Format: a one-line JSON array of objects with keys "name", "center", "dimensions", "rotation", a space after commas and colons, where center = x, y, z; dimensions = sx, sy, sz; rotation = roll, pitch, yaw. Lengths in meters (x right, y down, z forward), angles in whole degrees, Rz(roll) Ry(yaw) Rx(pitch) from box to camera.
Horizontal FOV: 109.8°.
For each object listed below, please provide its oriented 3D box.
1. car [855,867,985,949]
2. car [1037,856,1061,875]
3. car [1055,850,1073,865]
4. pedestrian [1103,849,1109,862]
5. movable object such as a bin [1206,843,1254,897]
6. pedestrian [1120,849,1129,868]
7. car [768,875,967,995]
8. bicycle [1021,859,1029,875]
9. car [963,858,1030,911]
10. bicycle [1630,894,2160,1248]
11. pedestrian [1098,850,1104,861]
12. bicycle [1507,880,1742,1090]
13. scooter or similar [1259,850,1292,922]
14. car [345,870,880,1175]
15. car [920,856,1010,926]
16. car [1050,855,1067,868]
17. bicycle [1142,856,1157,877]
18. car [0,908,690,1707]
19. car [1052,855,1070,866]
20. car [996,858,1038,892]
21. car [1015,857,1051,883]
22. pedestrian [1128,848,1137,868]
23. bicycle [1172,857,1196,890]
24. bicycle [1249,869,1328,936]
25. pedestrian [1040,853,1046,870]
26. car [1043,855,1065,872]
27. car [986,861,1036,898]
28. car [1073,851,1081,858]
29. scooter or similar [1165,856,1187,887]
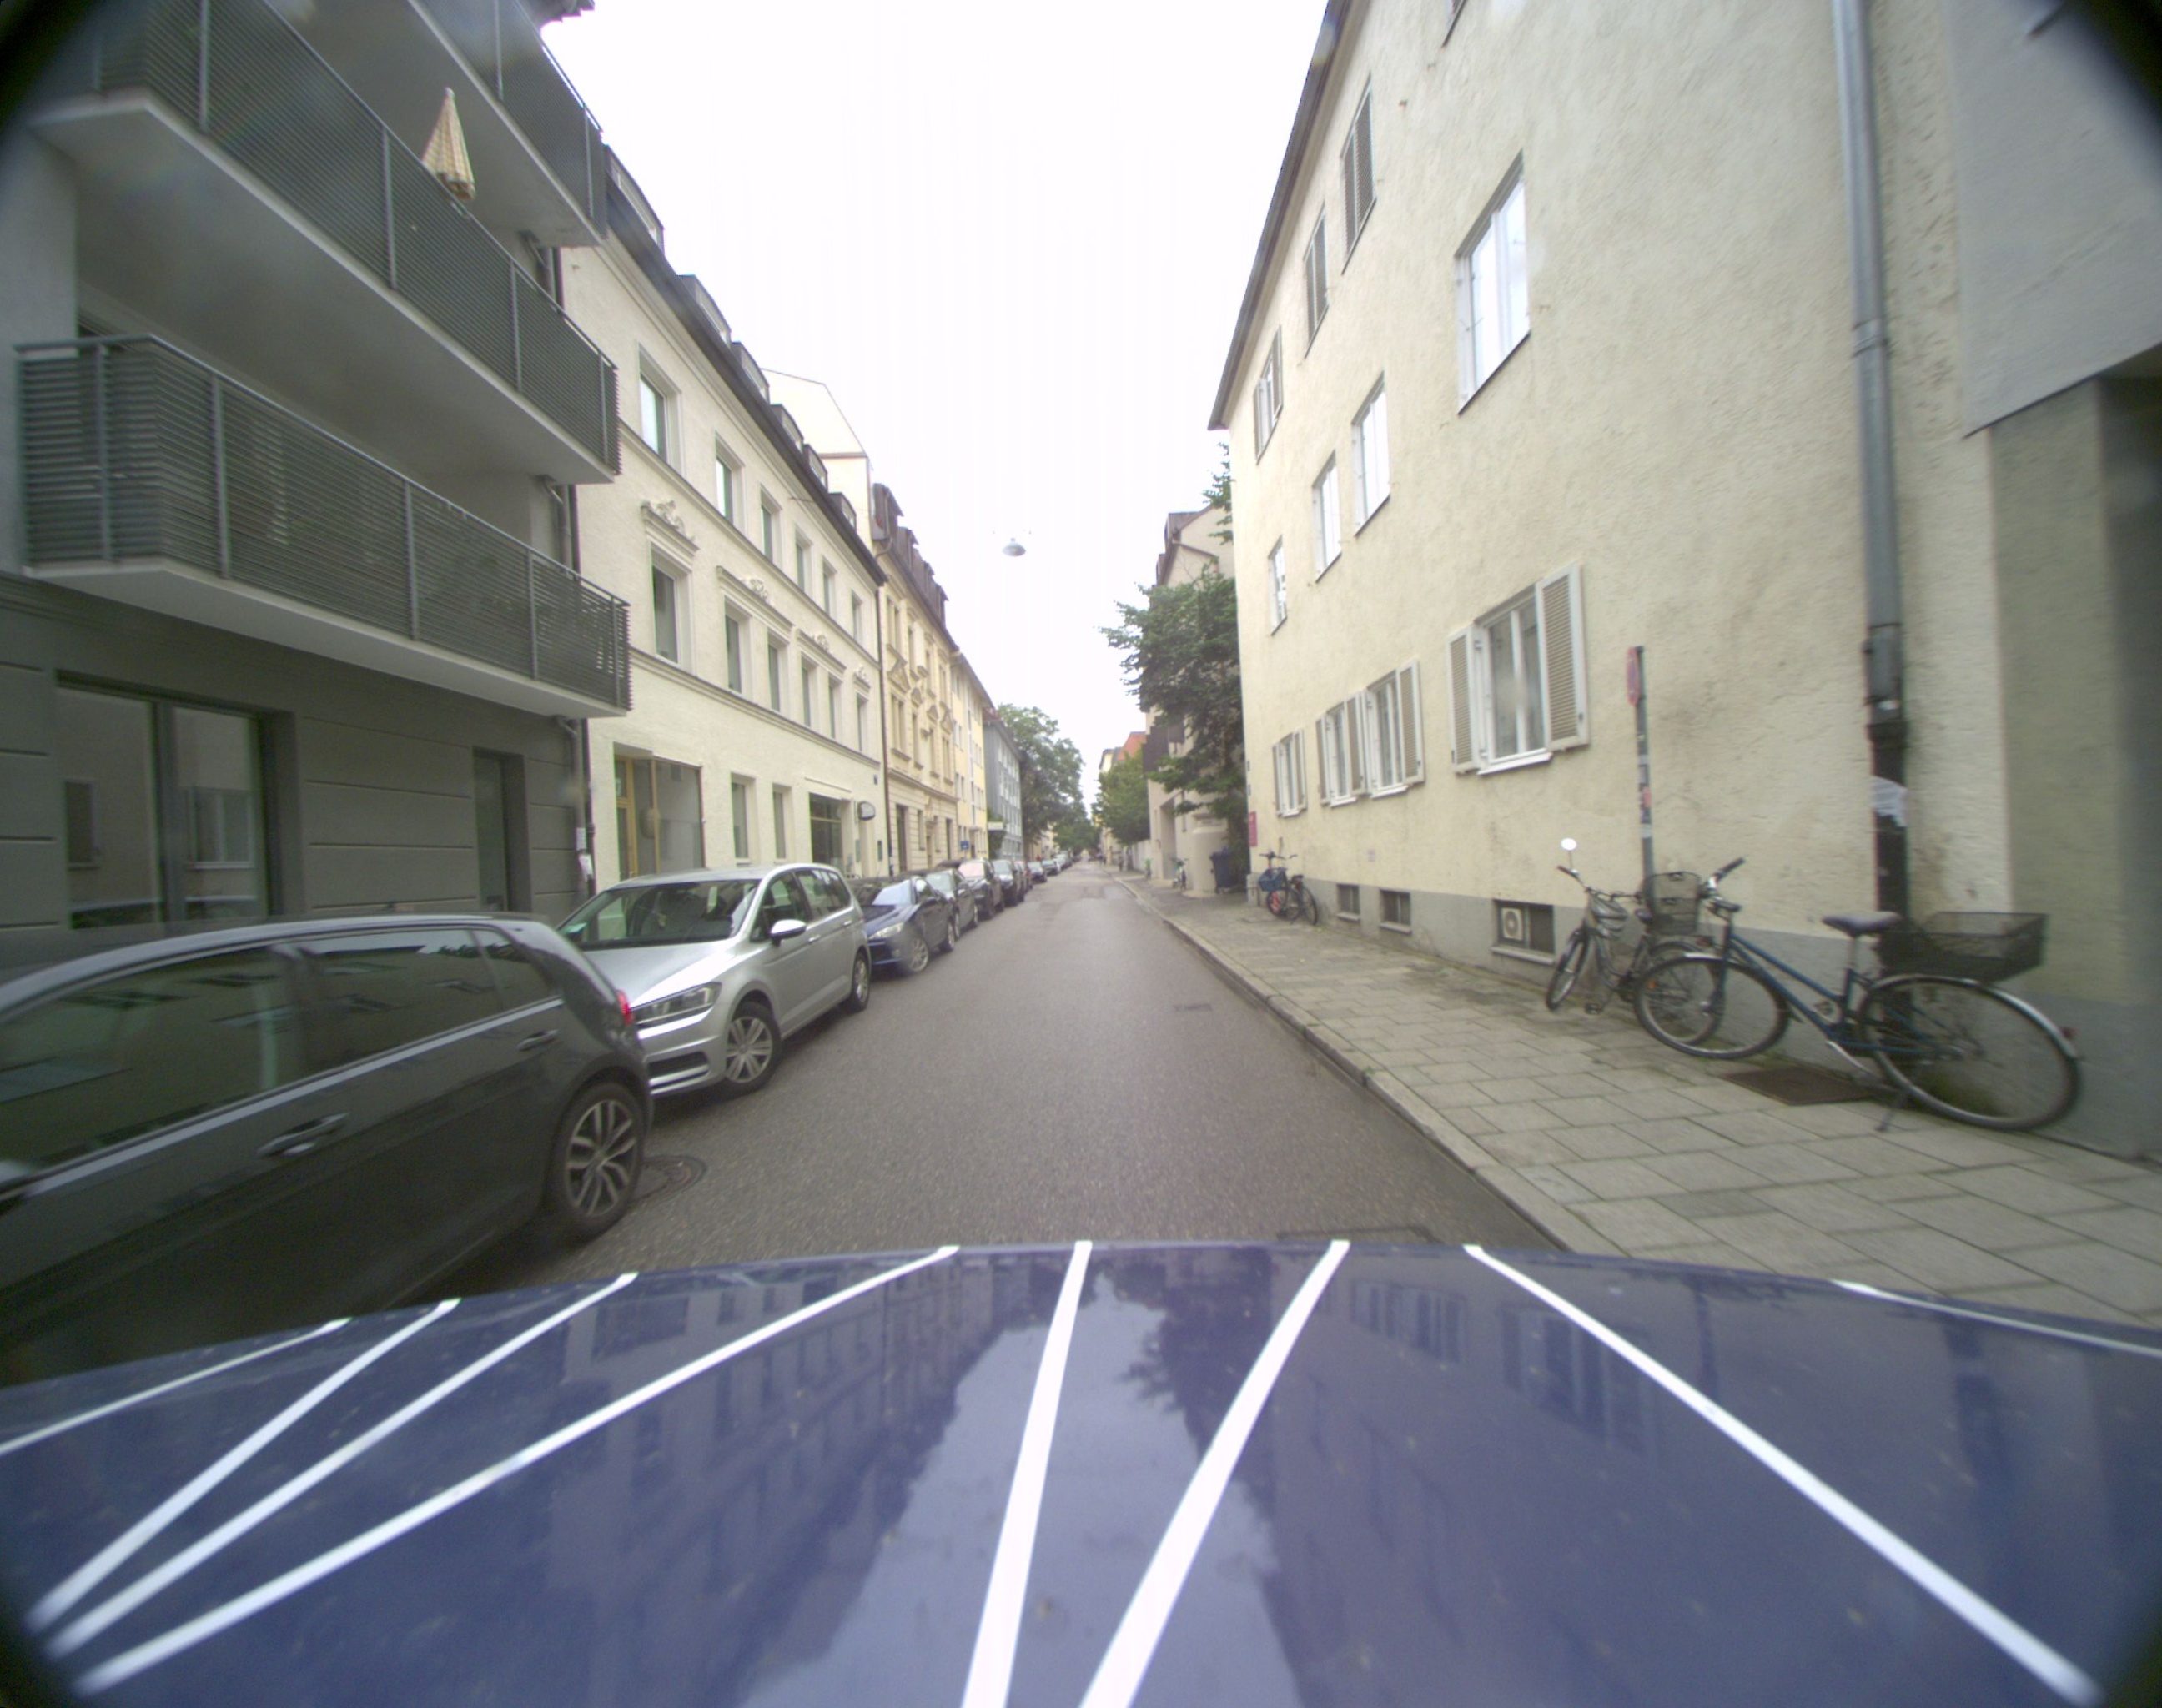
[{"name": "car", "center": [-3.240, 1.034, 16.186], "dimensions": [1.804, 1.377, 4.348], "rotation": [-2, 0, 0]}, {"name": "car", "center": [-2.722, 0.941, 65.196], "dimensions": [1.846, 1.420, 4.263], "rotation": [-6, 0, -1]}, {"name": "car", "center": [-2.362, 0.516, 106.276], "dimensions": [1.998, 2.002, 5.064], "rotation": [-2, 0, 3]}, {"name": "pedestrian", "center": [3.383, 0.224, 102.624], "dimensions": [0.766, 1.742, 0.970], "rotation": [-2, 1, 0]}, {"name": "movable object such as a bin", "center": [4.520, 0.481, 23.140], "dimensions": [1.177, 1.433, 1.249], "rotation": [-8, -1, 7]}, {"name": "pedestrian", "center": [3.685, 0.378, 64.566], "dimensions": [0.624, 1.570, 0.714], "rotation": [-4, 1, 0]}, {"name": "car", "center": [-3.018, 1.090, 11.647], "dimensions": [1.812, 1.355, 3.945], "rotation": [-2, 0, 1]}, {"name": "bicycle", "center": [-5.136, 1.173, 69.650], "dimensions": [0.515, 1.478, 2.279], "rotation": [-3, 0, 1]}, {"name": "car", "center": [-2.872, 0.990, 26.770], "dimensions": [1.706, 1.597, 4.684], "rotation": [-3, 0, 0]}, {"name": "bicycle", "center": [3.598, 0.833, 3.623], "dimensions": [0.563, 1.153, 1.720], "rotation": [-3, 1, -5]}, {"name": "pedestrian", "center": [3.182, 0.202, 121.918], "dimensions": [0.920, 1.742, 1.066], "rotation": [-2, 1, 0]}, {"name": "bicycle", "center": [3.695, 0.811, 5.338], "dimensions": [0.459, 1.153, 1.605], "rotation": [-5, 1, 2]}, {"name": "scooter or similar", "center": [3.879, 0.611, 15.209], "dimensions": [0.318, 1.368, 1.239], "rotation": [-2, 1, 0]}, {"name": "car", "center": [-3.199, 0.992, 6.439], "dimensions": [1.880, 1.561, 4.315], "rotation": [-1, 0, -1]}, {"name": "car", "center": [-3.100, 0.931, 21.131], "dimensions": [1.680, 1.651, 4.512], "rotation": [-3, 0, 0]}, {"name": "car", "center": [-2.651, 0.852, 89.854], "dimensions": [1.860, 1.366, 4.509], "rotation": [-5, 0, -1]}, {"name": "bicycle", "center": [3.790, 0.684, 42.190], "dimensions": [0.539, 1.132, 1.917], "rotation": [-4, 0, 0]}, {"name": "car", "center": [-2.940, 1.089, 1.701], "dimensions": [1.844, 1.520, 4.292], "rotation": [-3, 0, 0]}, {"name": "car", "center": [-2.434, 0.810, 94.943], "dimensions": [1.998, 1.306, 4.593], "rotation": [-2, 0, 1]}, {"name": "car", "center": [-3.194, 1.023, 38.288], "dimensions": [1.680, 1.484, 3.853], "rotation": [-3, 0, 0]}, {"name": "car", "center": [-2.957, 0.971, 47.808], "dimensions": [1.830, 1.327, 4.508], "rotation": [-6, 0, 0]}, {"name": "pedestrian", "center": [4.371, 0.331, 64.617], "dimensions": [0.615, 1.612, 0.687], "rotation": [-5, 1, 1]}, {"name": "bicycle", "center": [3.861, 0.717, 28.547], "dimensions": [0.545, 1.154, 1.882], "rotation": [-4, 0, -1]}, {"name": "bicycle", "center": [3.638, 0.823, 13.482], "dimensions": [0.705, 0.978, 1.822], "rotation": [-7, 1, -4]}, {"name": "pedestrian", "center": [-4.450, 0.889, 89.463], "dimensions": [0.581, 1.966, 0.455], "rotation": [-3, 1, 0]}, {"name": "car", "center": [-2.664, 0.928, 75.086], "dimensions": [1.773, 1.437, 4.344], "rotation": [-6, 0, 2]}, {"name": "car", "center": [-2.988, 1.067, 33.030], "dimensions": [1.680, 1.385, 4.065], "rotation": [-3, 0, 0]}, {"name": "car", "center": [-1.167, 0.110, 216.900], "dimensions": [2.014, 1.969, 5.090], "rotation": [-6, 0, 2]}, {"name": "scooter or similar", "center": [3.835, 0.711, 30.612], "dimensions": [0.553, 1.137, 1.359], "rotation": [-5, 1, 17]}]
